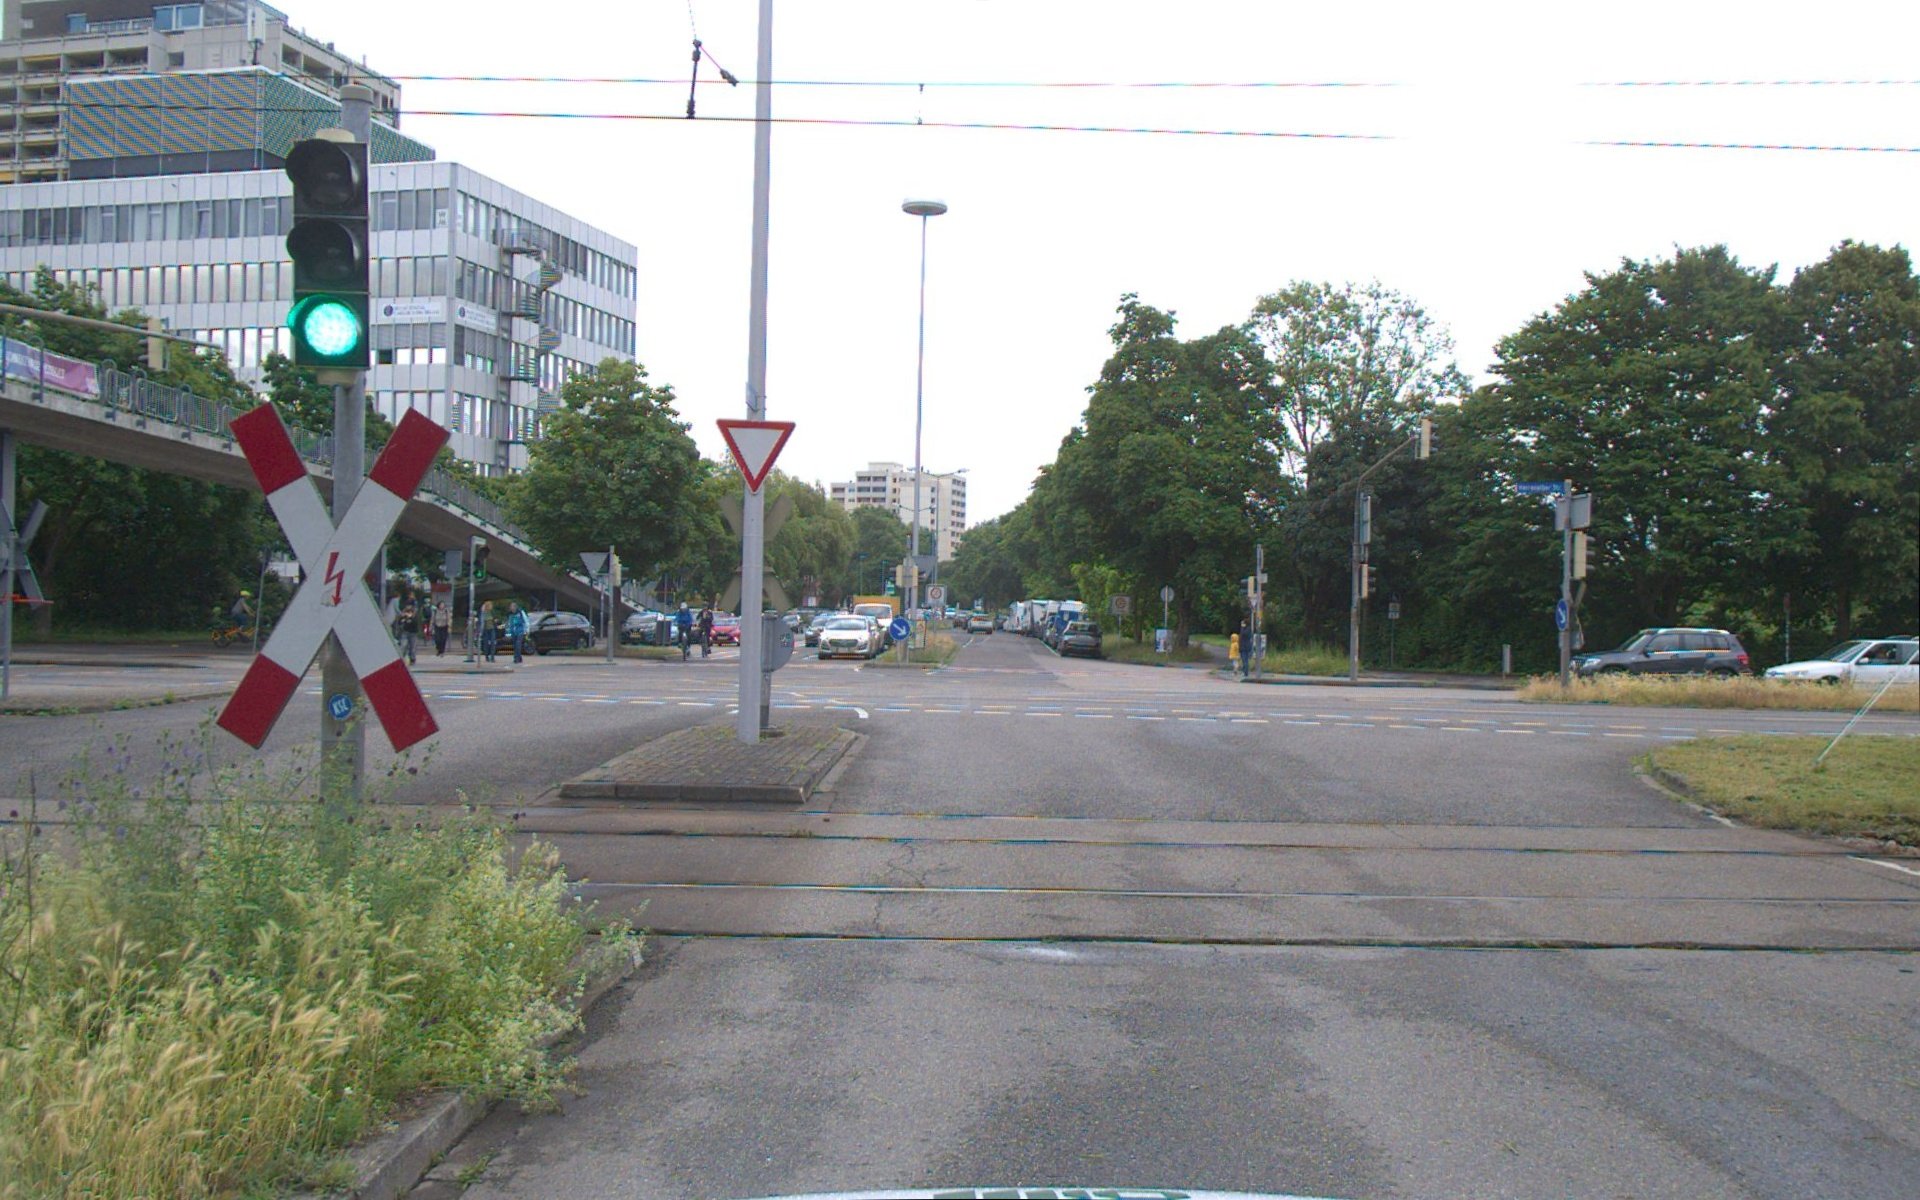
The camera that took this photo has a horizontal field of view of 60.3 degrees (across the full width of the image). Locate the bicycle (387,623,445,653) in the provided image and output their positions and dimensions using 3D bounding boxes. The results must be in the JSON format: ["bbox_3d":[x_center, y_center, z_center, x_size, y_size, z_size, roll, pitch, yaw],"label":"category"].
[{"bbox_3d":[-18.509,1.292,56.342,0.747,0.965,1.952,1,-1,24],"label":"bicycle"}]

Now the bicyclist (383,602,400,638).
[{"bbox_3d":[-19.163,0.664,55.746,0.396,1.202,0.377,1,0,1],"label":"bicyclist"}]

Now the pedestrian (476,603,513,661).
[{"bbox_3d":[-12.635,0.863,44.898,0.901,1.537,0.403,1,-1,-12],"label":"pedestrian"}]

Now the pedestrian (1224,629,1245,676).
[{"bbox_3d":[8.213,1.571,49.542,0.516,1.365,0.524,1,-1,-1],"label":"pedestrian"}]

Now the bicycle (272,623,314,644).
[{"bbox_3d":[-22.444,1.129,55.667,1.283,0.704,0.286,2,-1,-37],"label":"bicycle"}]

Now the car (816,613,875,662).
[{"bbox_3d":[-3.826,1.238,55.834,1.753,1.545,4.324,1,0,-1],"label":"car"}]

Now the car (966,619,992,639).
[{"bbox_3d":[1.554,2.364,136.566,1.979,1.532,3.999,1,0,-1],"label":"car"}]

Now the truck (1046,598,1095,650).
[{"bbox_3d":[5.999,1.337,90.440,2.130,2.703,6.244,1,-1,-1],"label":"truck"}]

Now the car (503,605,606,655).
[{"bbox_3d":[-13.606,1.006,55.717,1.636,1.579,4.003,1,0,15],"label":"car"}]

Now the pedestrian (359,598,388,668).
[{"bbox_3d":[-14.565,0.829,41.107,0.608,1.721,0.404,1,-1,-15],"label":"pedestrian"}]

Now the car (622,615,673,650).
[{"bbox_3d":[-14.524,1.493,77.025,1.637,1.579,3.891,1,0,0],"label":"car"}]

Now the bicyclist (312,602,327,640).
[{"bbox_3d":[-22.243,0.720,57.439,0.380,1.326,0.275,2,-1,-38],"label":"bicyclist"}]

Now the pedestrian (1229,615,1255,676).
[{"bbox_3d":[8.343,1.340,48.915,0.643,1.780,0.459,1,-1,-1],"label":"pedestrian"}]

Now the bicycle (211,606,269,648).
[{"bbox_3d":[-23.263,0.875,53.416,1.683,1.327,0.386,1,-1,-26],"label":"bicycle"}]

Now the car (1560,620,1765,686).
[{"bbox_3d":[17.628,1.315,41.641,4.373,1.530,1.846,1,-1,0],"label":"car"}]

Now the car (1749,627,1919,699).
[{"bbox_3d":[18.707,1.297,34.130,4.052,1.381,1.647,1,-1,0],"label":"car"}]

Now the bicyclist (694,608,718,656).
[{"bbox_3d":[-8.629,1.083,56.211,0.665,1.622,0.695,1,-1,-1],"label":"bicyclist"}]

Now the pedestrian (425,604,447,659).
[{"bbox_3d":[-15.470,0.929,48.845,0.570,1.607,0.777,1,-1,-19],"label":"pedestrian"}]

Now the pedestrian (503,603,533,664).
[{"bbox_3d":[-11.973,0.903,44.812,0.673,1.633,0.487,1,-1,-5],"label":"pedestrian"}]

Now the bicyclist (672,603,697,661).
[{"bbox_3d":[-8.645,0.997,51.959,0.631,1.799,0.646,1,-1,-1],"label":"bicyclist"}]

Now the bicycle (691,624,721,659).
[{"bbox_3d":[-8.638,1.394,56.315,0.712,1.120,2.263,1,0,-1],"label":"bicycle"}]

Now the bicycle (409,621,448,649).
[{"bbox_3d":[-19.067,1.230,59.392,0.618,0.941,2.523,1,0,-1],"label":"bicycle"}]

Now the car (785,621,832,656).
[{"bbox_3d":[-6.865,1.739,75.067,1.734,1.503,4.389,1,-1,0],"label":"car"}]

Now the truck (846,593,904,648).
[{"bbox_3d":[-3.643,0.868,71.648,2.111,2.237,5.840,1,0,0],"label":"truck"}]

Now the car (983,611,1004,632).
[{"bbox_3d":[3.198,2.060,158.450,1.619,1.952,3.915,1,0,-5],"label":"car"}]

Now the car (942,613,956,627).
[{"bbox_3d":[-1.237,2.302,189.589,1.522,1.532,3.999,1,0,-2],"label":"car"}]

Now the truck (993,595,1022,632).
[{"bbox_3d":[4.056,1.181,142.628,1.954,3.062,5.767,1,-1,-4],"label":"truck"}]

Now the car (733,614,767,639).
[{"bbox_3d":[-13.723,1.696,108.181,1.637,1.579,4.000,1,-1,0],"label":"car"}]

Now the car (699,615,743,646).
[{"bbox_3d":[-11.508,1.464,79.869,1.481,1.415,3.533,1,-1,2],"label":"car"}]

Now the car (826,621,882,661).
[{"bbox_3d":[-4.069,1.560,64.156,1.858,1.445,4.735,1,0,0],"label":"car"}]

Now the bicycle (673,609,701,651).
[{"bbox_3d":[-8.632,0.951,52.305,0.532,1.289,2.110,1,0,-1],"label":"bicycle"}]

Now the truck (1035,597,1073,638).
[{"bbox_3d":[6.809,1.286,119.804,1.954,2.888,5.726,1,-1,-4],"label":"truck"}]

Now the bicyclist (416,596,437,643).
[{"bbox_3d":[-19.177,0.715,59.474,0.553,1.673,0.531,1,-1,0],"label":"bicyclist"}]

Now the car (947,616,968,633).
[{"bbox_3d":[-0.251,2.415,163.530,1.979,1.532,3.999,1,0,-1],"label":"car"}]

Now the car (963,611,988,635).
[{"bbox_3d":[1.343,1.979,143.202,1.979,1.993,3.999,1,0,-1],"label":"car"}]

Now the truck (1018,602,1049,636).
[{"bbox_3d":[5.840,1.499,131.858,1.954,2.618,5.375,1,-1,-3],"label":"truck"}]

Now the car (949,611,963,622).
[{"bbox_3d":[-0.638,2.492,246.550,1.979,1.532,3.999,1,0,-1],"label":"car"}]

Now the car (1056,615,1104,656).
[{"bbox_3d":[5.328,1.560,73.627,1.747,1.691,3.999,1,0,-1],"label":"car"}]

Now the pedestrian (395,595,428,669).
[{"bbox_3d":[-13.785,0.797,41.550,0.625,1.835,0.800,1,-1,-10],"label":"pedestrian"}]
